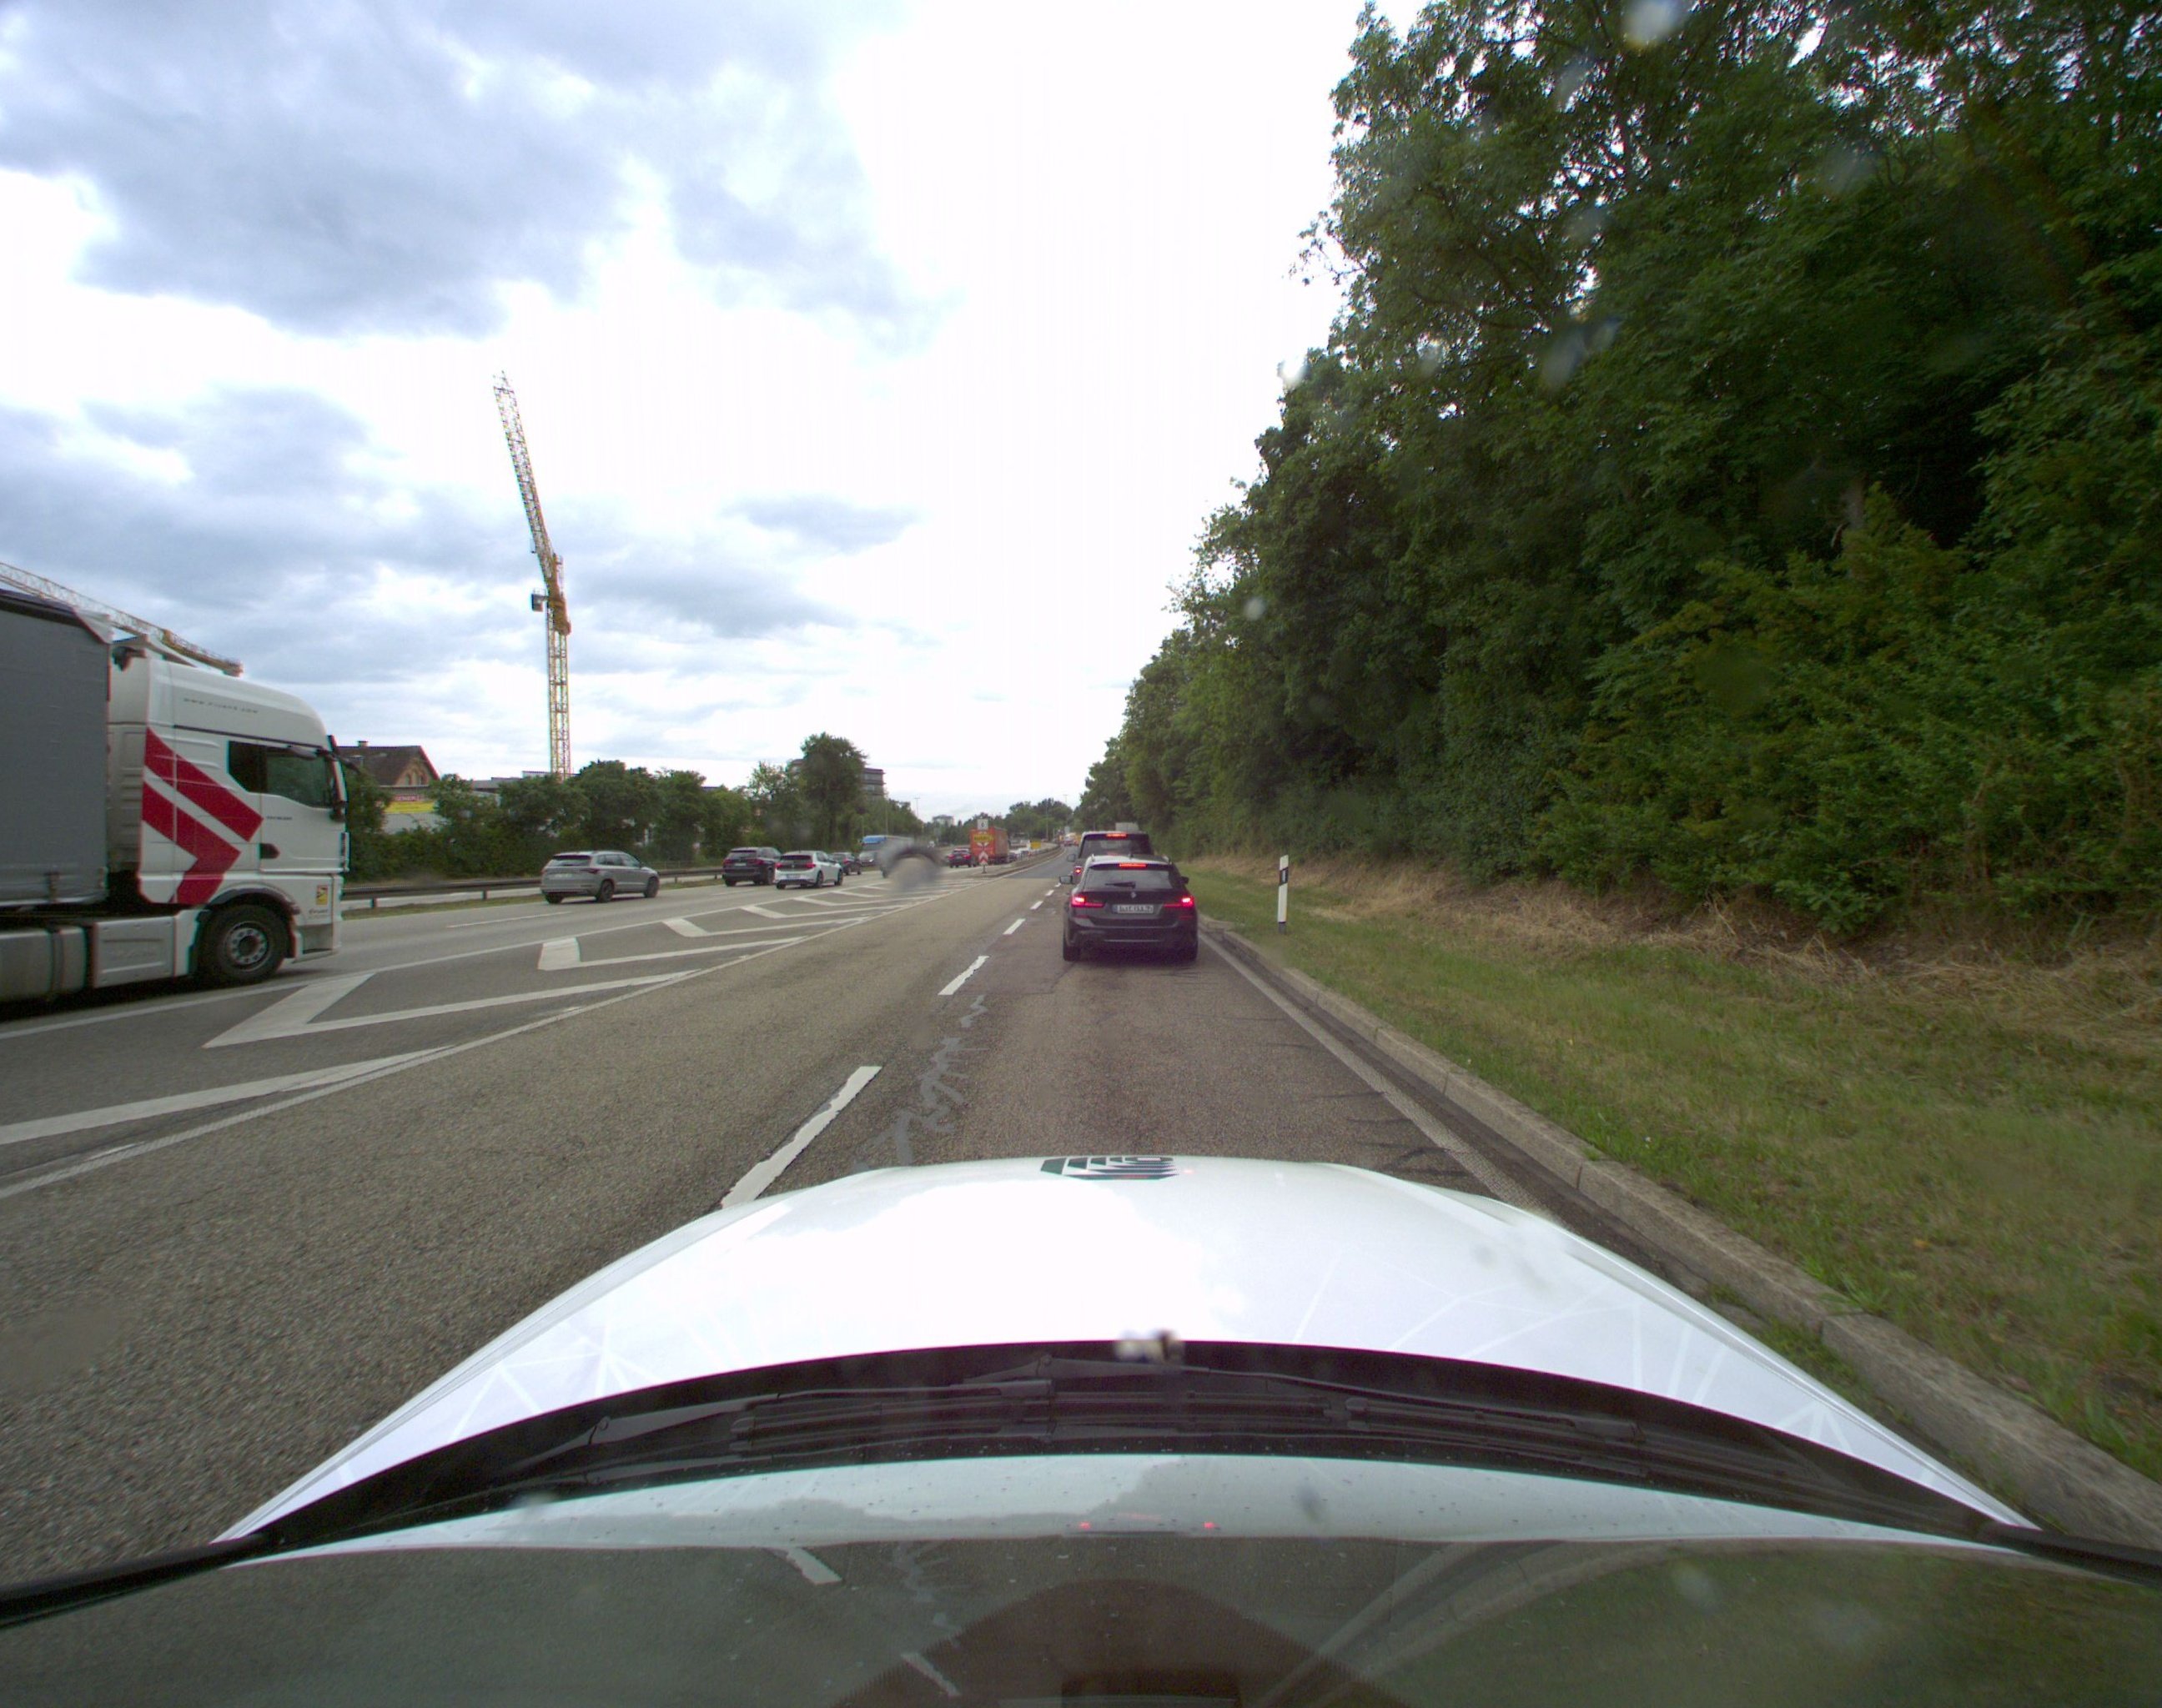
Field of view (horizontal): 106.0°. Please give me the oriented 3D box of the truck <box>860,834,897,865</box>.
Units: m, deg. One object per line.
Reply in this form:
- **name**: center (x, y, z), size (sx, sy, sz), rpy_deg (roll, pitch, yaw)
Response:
- **truck**: center (-25.325, -0.554, 102.270), size (2.761, 3.710, 6.640), rpy_deg (0, 0, 2)

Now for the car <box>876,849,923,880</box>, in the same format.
- **car**: center (-10.250, 0.547, 46.368), size (1.787, 1.640, 3.999), rpy_deg (-1, 0, -1)

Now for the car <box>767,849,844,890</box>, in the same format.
- **car**: center (-11.446, 0.601, 34.130), size (1.794, 1.604, 4.256), rpy_deg (0, 0, -1)

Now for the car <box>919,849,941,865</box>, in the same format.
- **car**: center (-14.640, 0.316, 78.950), size (1.518, 1.519, 3.996), rpy_deg (0, 0, -2)

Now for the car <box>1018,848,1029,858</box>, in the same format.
- **car**: center (-9.663, -0.202, 137.438), size (1.552, 1.552, 3.997), rpy_deg (-1, 0, -2)

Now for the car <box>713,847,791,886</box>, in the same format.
- **car**: center (-15.053, 0.561, 37.473), size (1.867, 1.716, 4.001), rpy_deg (0, 0, 1)

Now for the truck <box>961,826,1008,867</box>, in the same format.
- **truck**: center (-10.420, -0.874, 90.018), size (3.479, 4.073, 13.589), rpy_deg (-2, 1, 0)

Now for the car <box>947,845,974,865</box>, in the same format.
- **car**: center (-10.892, 0.110, 73.782), size (1.854, 1.816, 3.999), rpy_deg (0, 0, 0)

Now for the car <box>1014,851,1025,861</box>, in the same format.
- **car**: center (-9.116, 0.304, 121.089), size (1.552, 1.552, 3.815), rpy_deg (0, 0, -2)

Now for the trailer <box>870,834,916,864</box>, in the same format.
- **trailer**: center (-24.996, -0.577, 109.149), size (2.676, 3.702, 13.265), rpy_deg (0, 0, 2)

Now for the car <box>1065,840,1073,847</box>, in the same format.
- **car**: center (-3.031, -2.680, 202.169), size (1.805, 1.711, 4.002), rpy_deg (-1, 0, 2)

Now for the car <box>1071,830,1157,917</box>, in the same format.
- **car**: center (0.756, 0.423, 19.196), size (1.816, 1.821, 4.001), rpy_deg (0, 0, 1)

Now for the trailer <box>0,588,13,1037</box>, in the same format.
- **trailer**: center (-11.219, -0.393, 0.776), size (3.289, 4.036, 13.090), rpy_deg (0, 0, -1)

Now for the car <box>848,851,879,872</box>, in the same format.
- **car**: center (-22.223, 0.722, 83.422), size (1.986, 2.013, 4.002), rpy_deg (-1, 0, 2)

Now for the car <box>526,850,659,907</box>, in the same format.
- **car**: center (-15.413, 0.720, 25.960), size (1.723, 1.601, 3.929), rpy_deg (-1, 1, 1)

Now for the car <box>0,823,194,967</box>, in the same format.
- **car**: center (-15.999, 0.588, 11.878), size (1.691, 2.013, 3.999), rpy_deg (-1, 0, 0)

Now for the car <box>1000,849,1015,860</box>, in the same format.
- **car**: center (-10.033, 0.094, 111.268), size (1.774, 1.482, 3.995), rpy_deg (-1, 0, -3)

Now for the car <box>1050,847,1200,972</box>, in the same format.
- **car**: center (0.550, 0.671, 12.096), size (1.819, 1.482, 4.000), rpy_deg (-2, 1, 0)

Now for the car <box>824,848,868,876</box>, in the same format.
- **car**: center (-14.908, 0.519, 51.901), size (1.712, 1.716, 3.998), rpy_deg (0, 0, -1)

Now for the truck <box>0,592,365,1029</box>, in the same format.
- **truck**: center (-11.346, -0.387, 7.569), size (3.190, 3.947, 7.069), rpy_deg (0, 0, -1)

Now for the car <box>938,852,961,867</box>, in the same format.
- **car**: center (-14.391, 0.596, 89.228), size (1.853, 1.618, 3.999), rpy_deg (0, 0, 0)
